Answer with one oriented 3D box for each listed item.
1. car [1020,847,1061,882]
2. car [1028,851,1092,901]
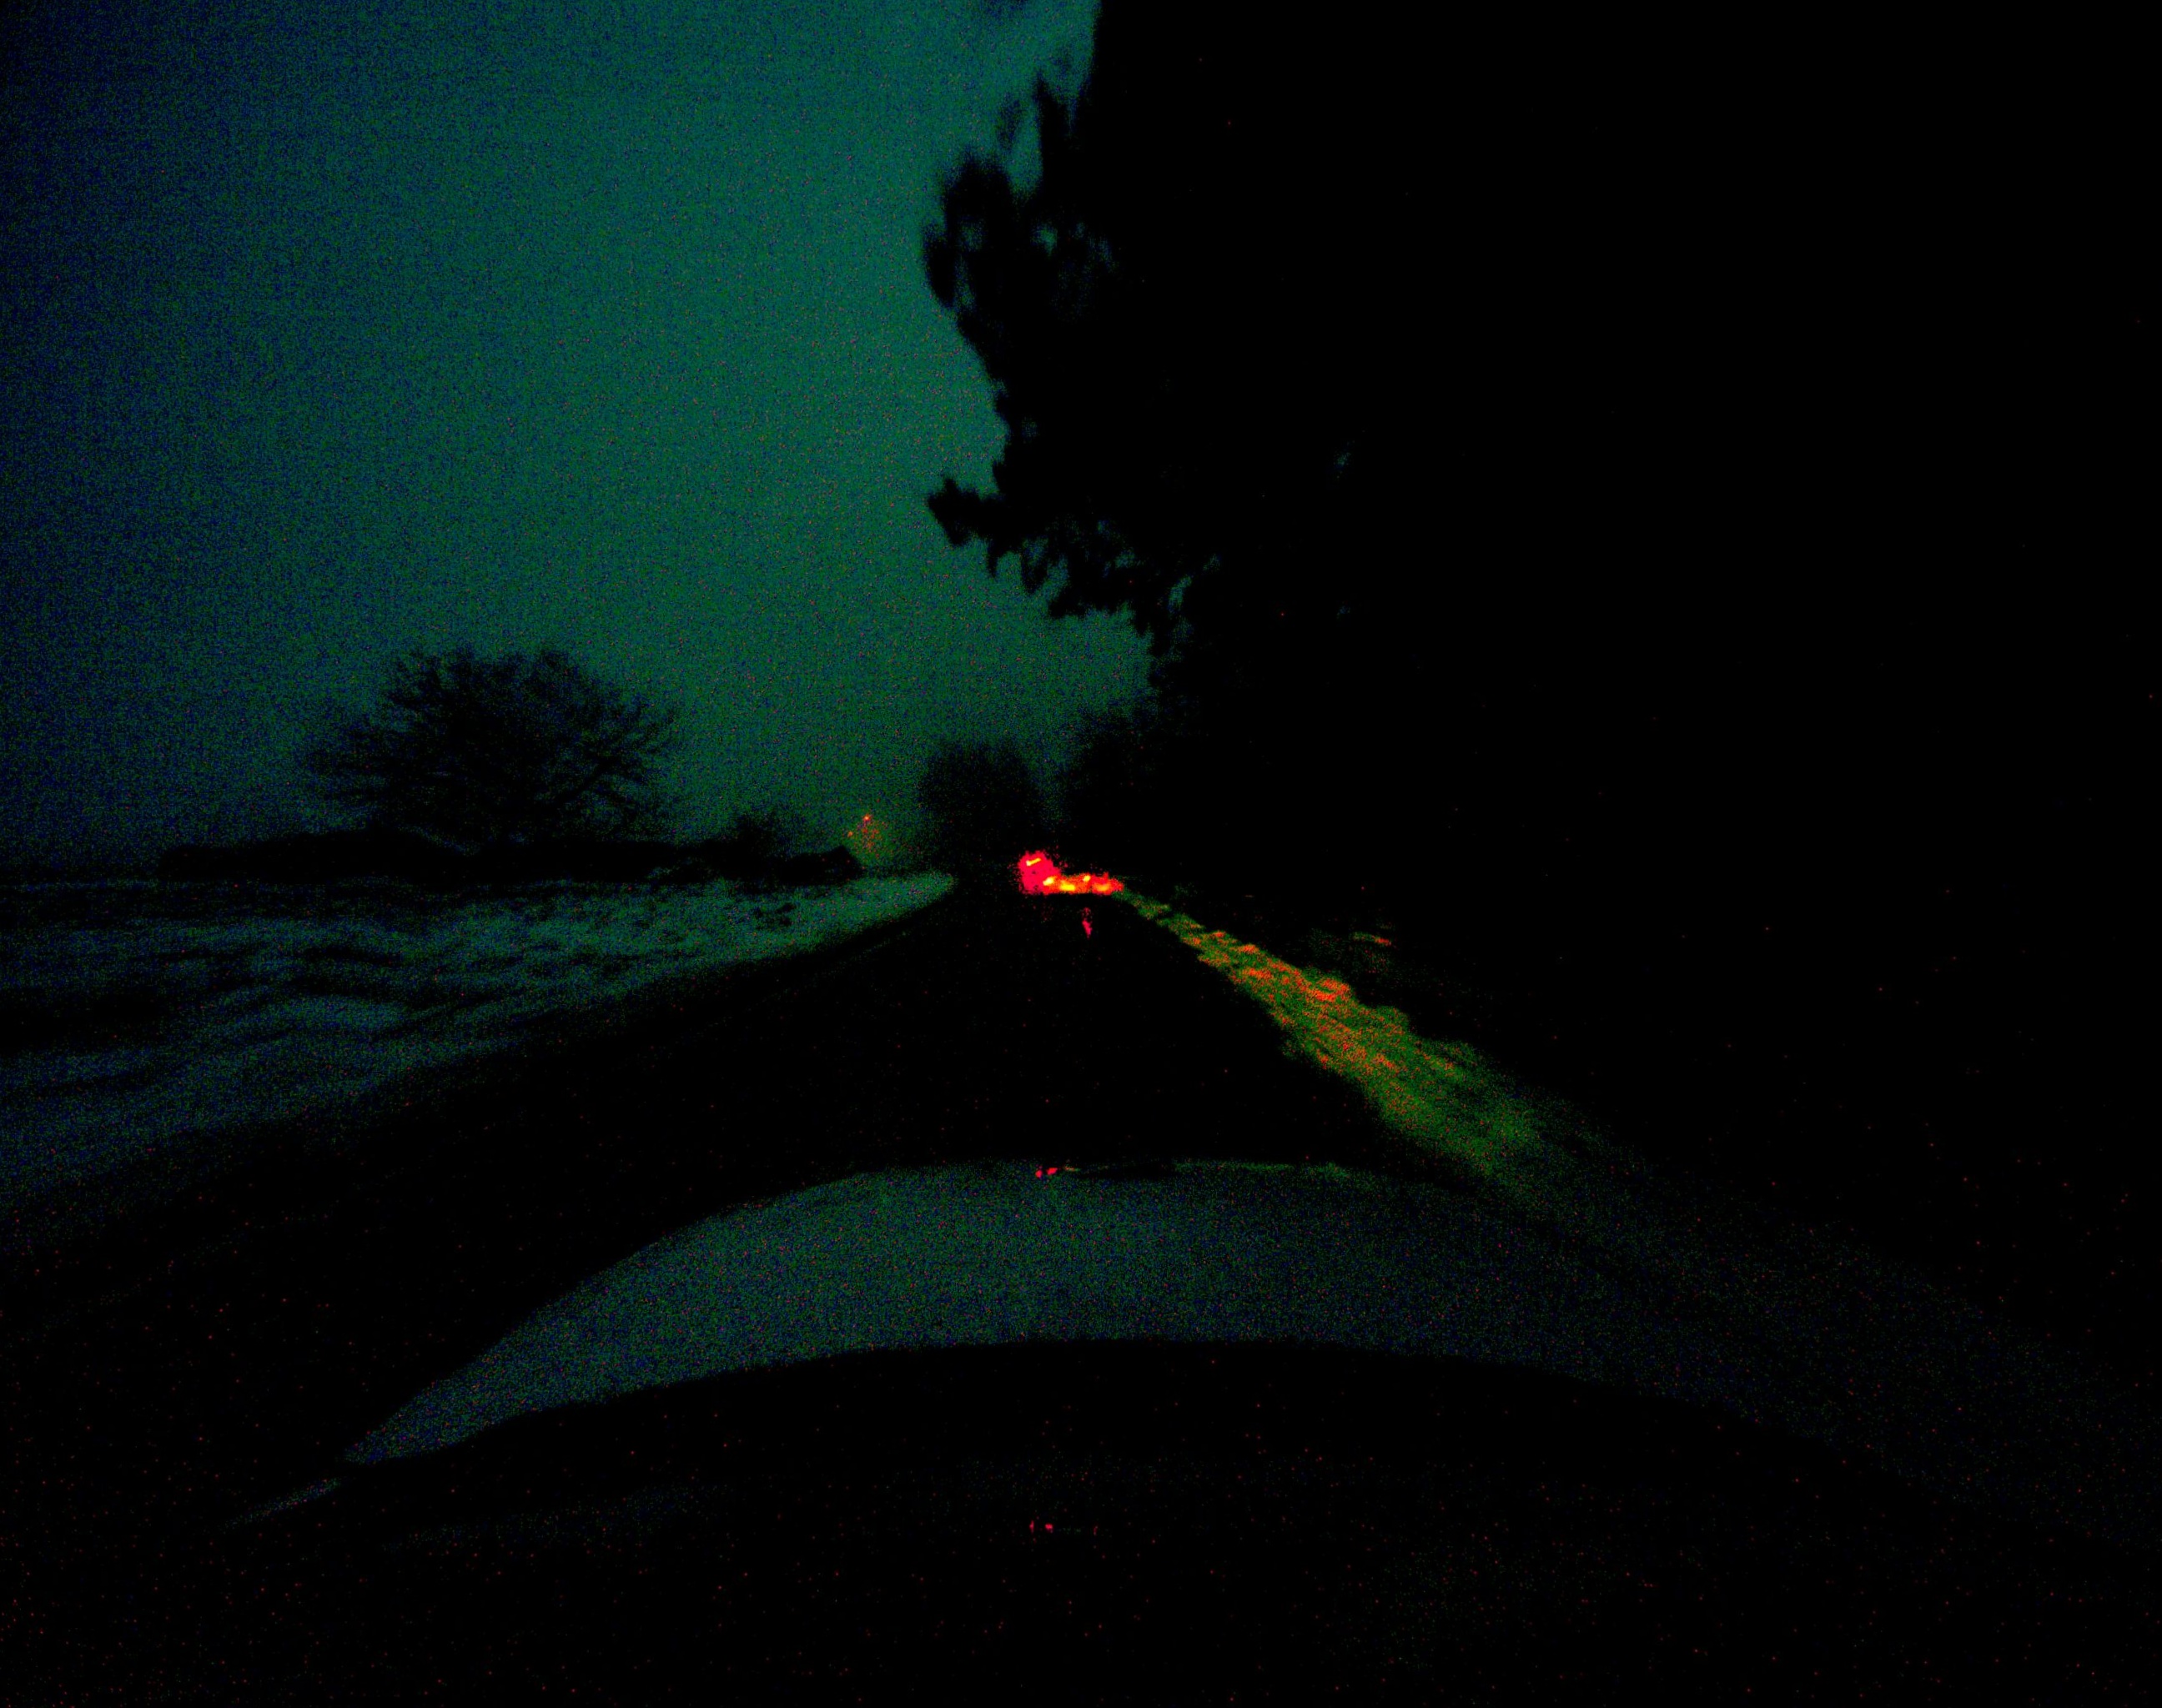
[{"bbox_3d":[-2.105,0.542,43.458,1.988,1.750,3.998,-1,-1,-1],"label":"car"},{"bbox_3d":[-0.645,0.698,27.208,1.987,1.508,3.999,-1,-1,0],"label":"car"}]
